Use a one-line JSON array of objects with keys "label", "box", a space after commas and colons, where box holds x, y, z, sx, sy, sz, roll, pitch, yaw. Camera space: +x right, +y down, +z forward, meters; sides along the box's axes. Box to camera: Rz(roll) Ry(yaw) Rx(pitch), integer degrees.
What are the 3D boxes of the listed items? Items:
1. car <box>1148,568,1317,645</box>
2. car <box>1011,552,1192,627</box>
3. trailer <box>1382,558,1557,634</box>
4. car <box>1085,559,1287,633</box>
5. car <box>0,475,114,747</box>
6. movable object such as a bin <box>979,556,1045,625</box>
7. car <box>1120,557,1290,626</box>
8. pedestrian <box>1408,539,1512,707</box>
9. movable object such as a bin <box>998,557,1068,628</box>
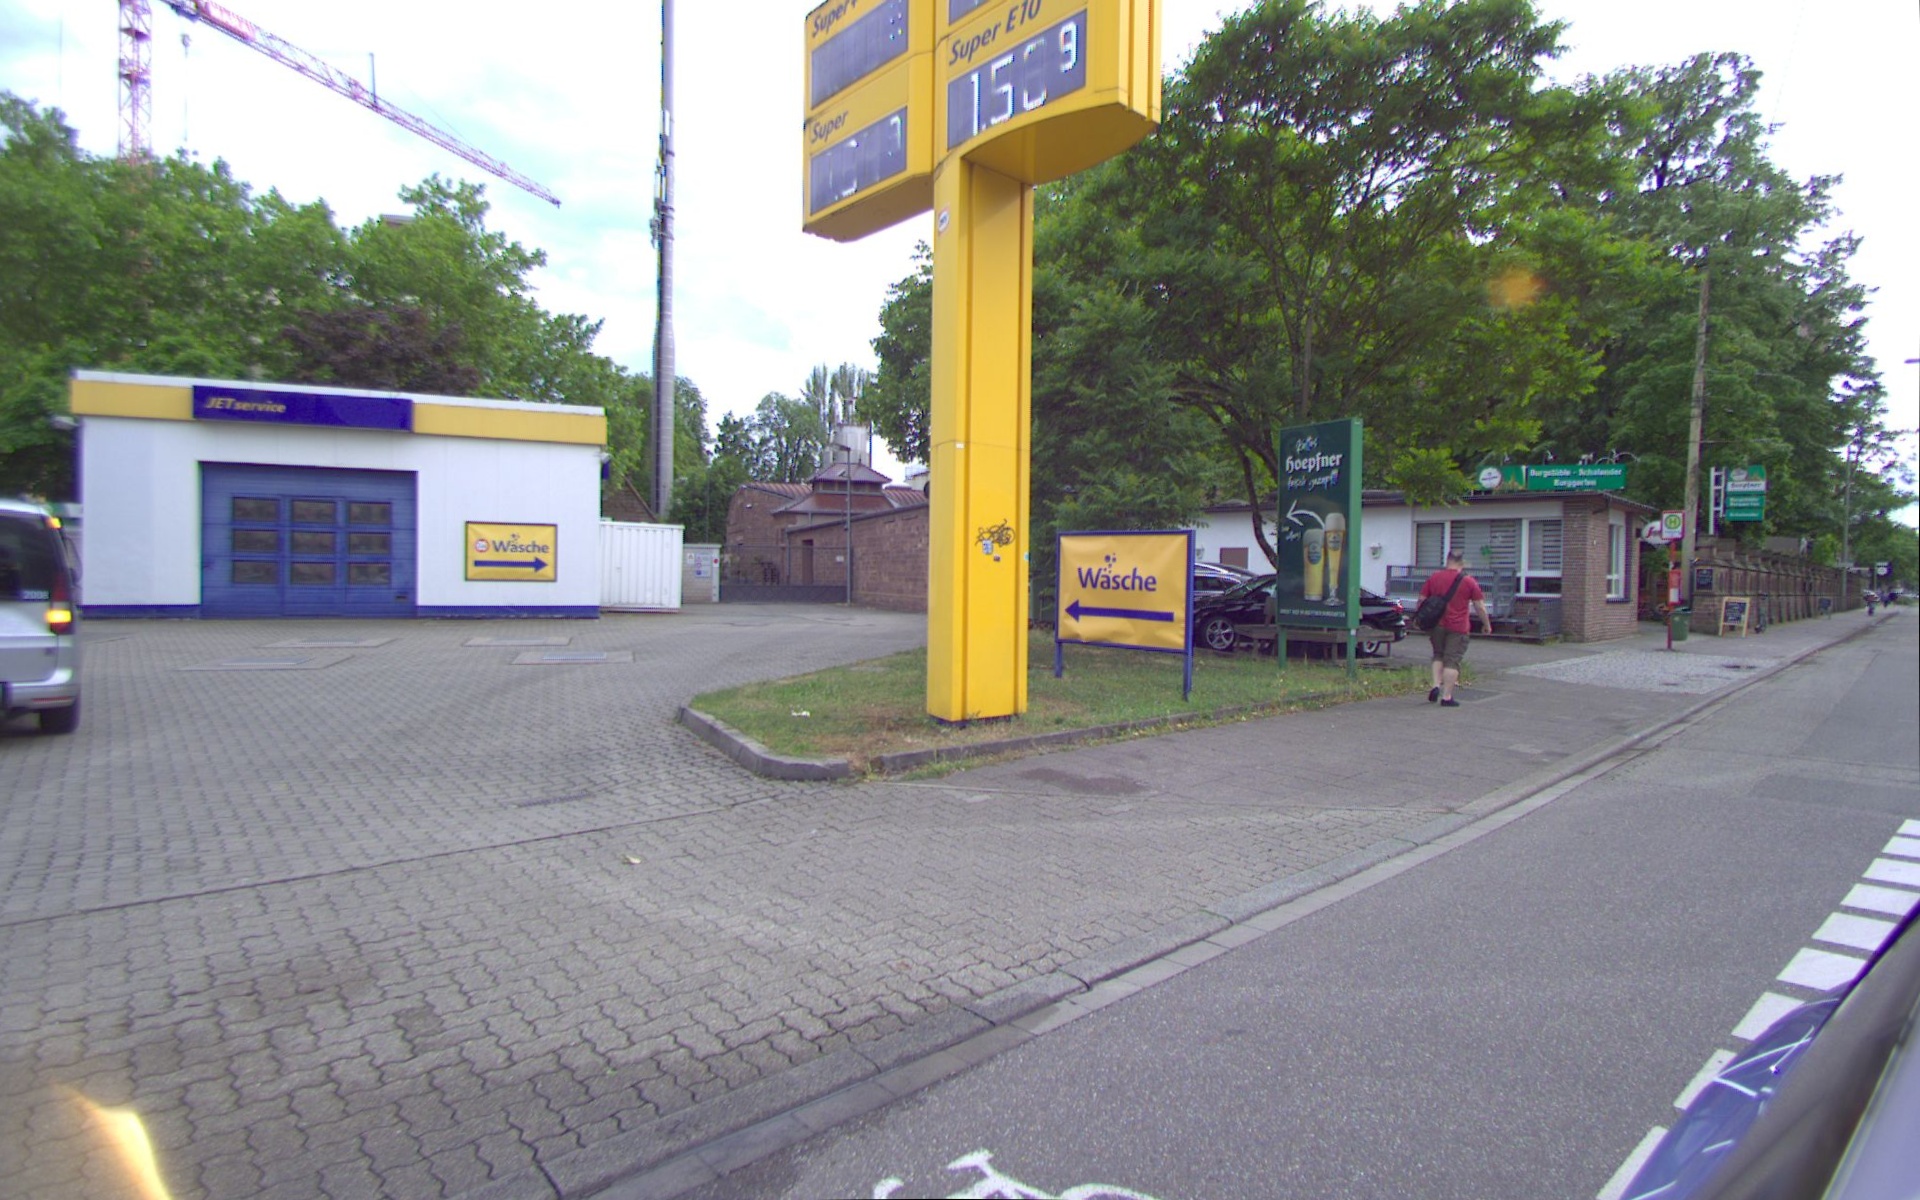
[{"label": "car", "box": [5.272, 0.071, 19.224, 1.986, 1.304, 3.952, 0, 1, 33]}, {"label": "car", "box": [3.349, -0.255, 24.330, 3.943, 1.717, 1.815, 0, 1, -8]}, {"label": "trailer", "box": [12.021, -0.165, 23.991, 1.745, 1.549, 3.286, -4, 5, -44]}, {"label": "car", "box": [4.843, -0.110, 22.013, 3.921, 1.536, 1.828, 0, 1, -4]}, {"label": "car", "box": [-8.494, -0.067, 8.142, 4.511, 1.865, 1.958, 5, 4, 42]}, {"label": "movable object such as a bin", "box": [1.066, -0.204, 21.044, 1.136, 1.376, 1.123, 0, 1, -10]}, {"label": "car", "box": [6.455, -0.251, 26.879, 1.967, 1.687, 3.990, -1, 1, -44]}, {"label": "pedestrian", "box": [5.613, 0.220, 11.433, 0.859, 1.768, 0.846, 3, 4, 20]}, {"label": "movable object such as a bin", "box": [1.415, -0.155, 19.835, 1.136, 1.336, 1.123, 0, 1, -10]}]
